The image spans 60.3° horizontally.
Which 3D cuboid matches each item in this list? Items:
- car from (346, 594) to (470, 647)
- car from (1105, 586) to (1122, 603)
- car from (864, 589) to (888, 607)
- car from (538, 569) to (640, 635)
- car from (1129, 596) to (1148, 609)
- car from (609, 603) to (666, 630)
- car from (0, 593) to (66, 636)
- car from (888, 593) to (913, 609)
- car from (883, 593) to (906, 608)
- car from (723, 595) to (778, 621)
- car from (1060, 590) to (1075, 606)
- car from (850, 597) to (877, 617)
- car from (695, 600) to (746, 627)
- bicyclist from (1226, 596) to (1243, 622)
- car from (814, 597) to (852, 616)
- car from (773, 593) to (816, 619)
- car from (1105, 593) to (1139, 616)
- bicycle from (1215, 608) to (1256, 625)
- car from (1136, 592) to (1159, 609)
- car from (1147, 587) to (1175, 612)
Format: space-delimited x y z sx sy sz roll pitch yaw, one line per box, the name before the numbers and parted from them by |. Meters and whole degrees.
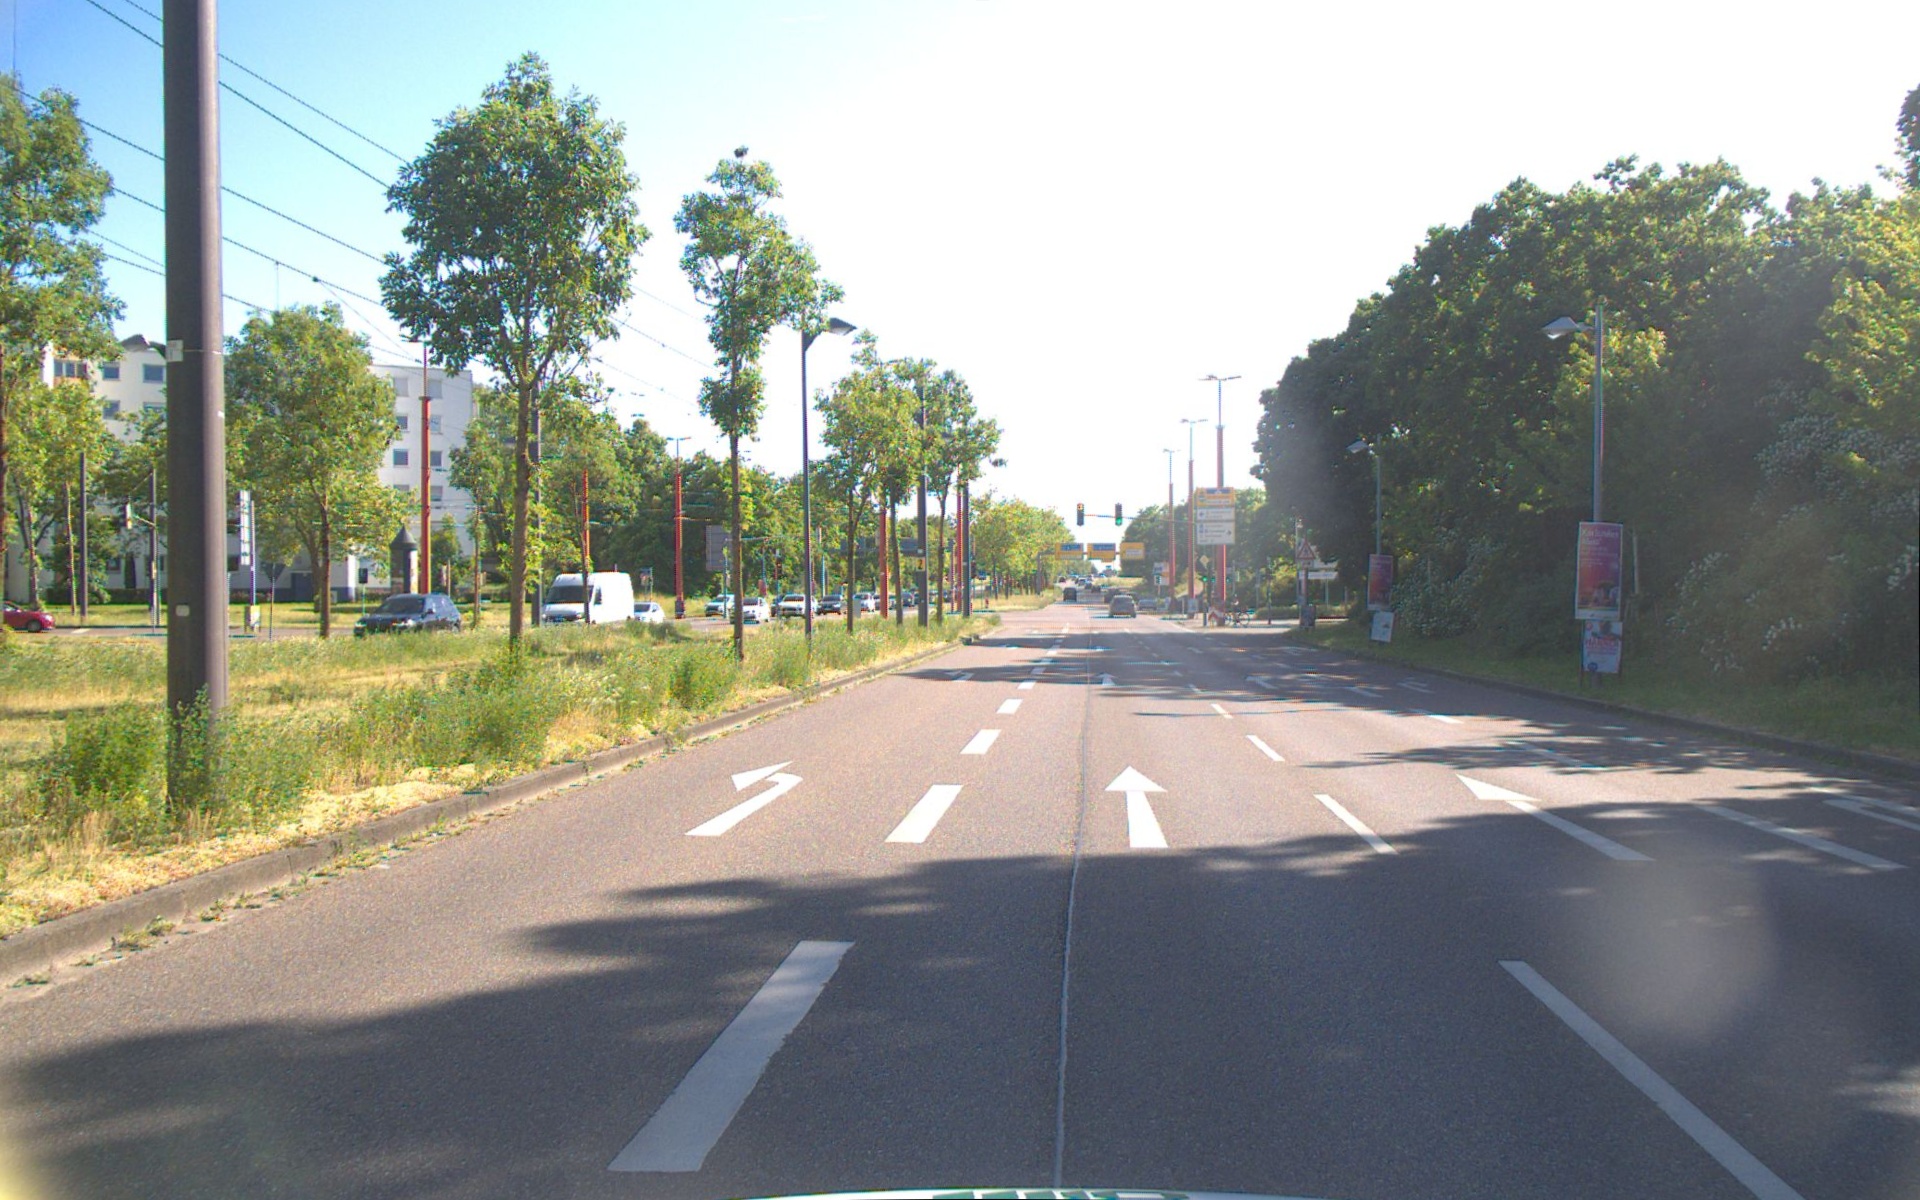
car | -17.925 0.640 53.992 1.951 1.612 5.275 1 0 4
car | 19.271 -0.726 207.513 2.109 2.049 4.002 0 0 4
car | -7.654 -0.167 151.306 1.555 1.498 4.186 -2 1 5
car | -14.464 0.075 64.958 1.996 2.410 6.884 1 0 4
car | 20.600 0.292 190.977 1.951 1.567 4.002 0 0 4
car | -16.391 0.837 84.187 1.760 1.315 4.002 1 0 5
car | -43.486 0.638 75.892 4.210 1.934 1.983 1 0 -27
car | -6.087 0.072 169.663 1.951 1.622 4.467 -1 0 6
car | -6.371 0.061 160.950 1.668 1.448 4.645 -1 0 4
car | -12.103 0.459 95.774 1.859 1.422 4.547 1 0 11
car | 14.042 -0.287 216.333 1.952 2.049 4.001 1 0 2
car | -8.109 0.589 139.749 1.725 1.636 3.760 -1 0 5
car | -18.780 1.040 129.858 1.953 2.049 4.407 0 0 22
bicyclist | 14.831 0.479 89.329 0.725 1.365 0.707 1 0 -6
car | -9.610 0.489 125.435 1.951 1.434 4.993 1 0 6
car | -10.896 0.380 109.078 1.854 1.650 4.660 1 0 7
car | 10.957 0.315 112.137 1.952 1.523 4.001 0 0 1
bicycle | 14.862 0.894 89.340 2.120 0.894 0.559 1 0 -7
car | 17.380 0.017 153.761 1.951 1.567 4.002 1 0 4
car | 15.846 -0.031 130.564 1.951 1.920 4.002 0 0 4
